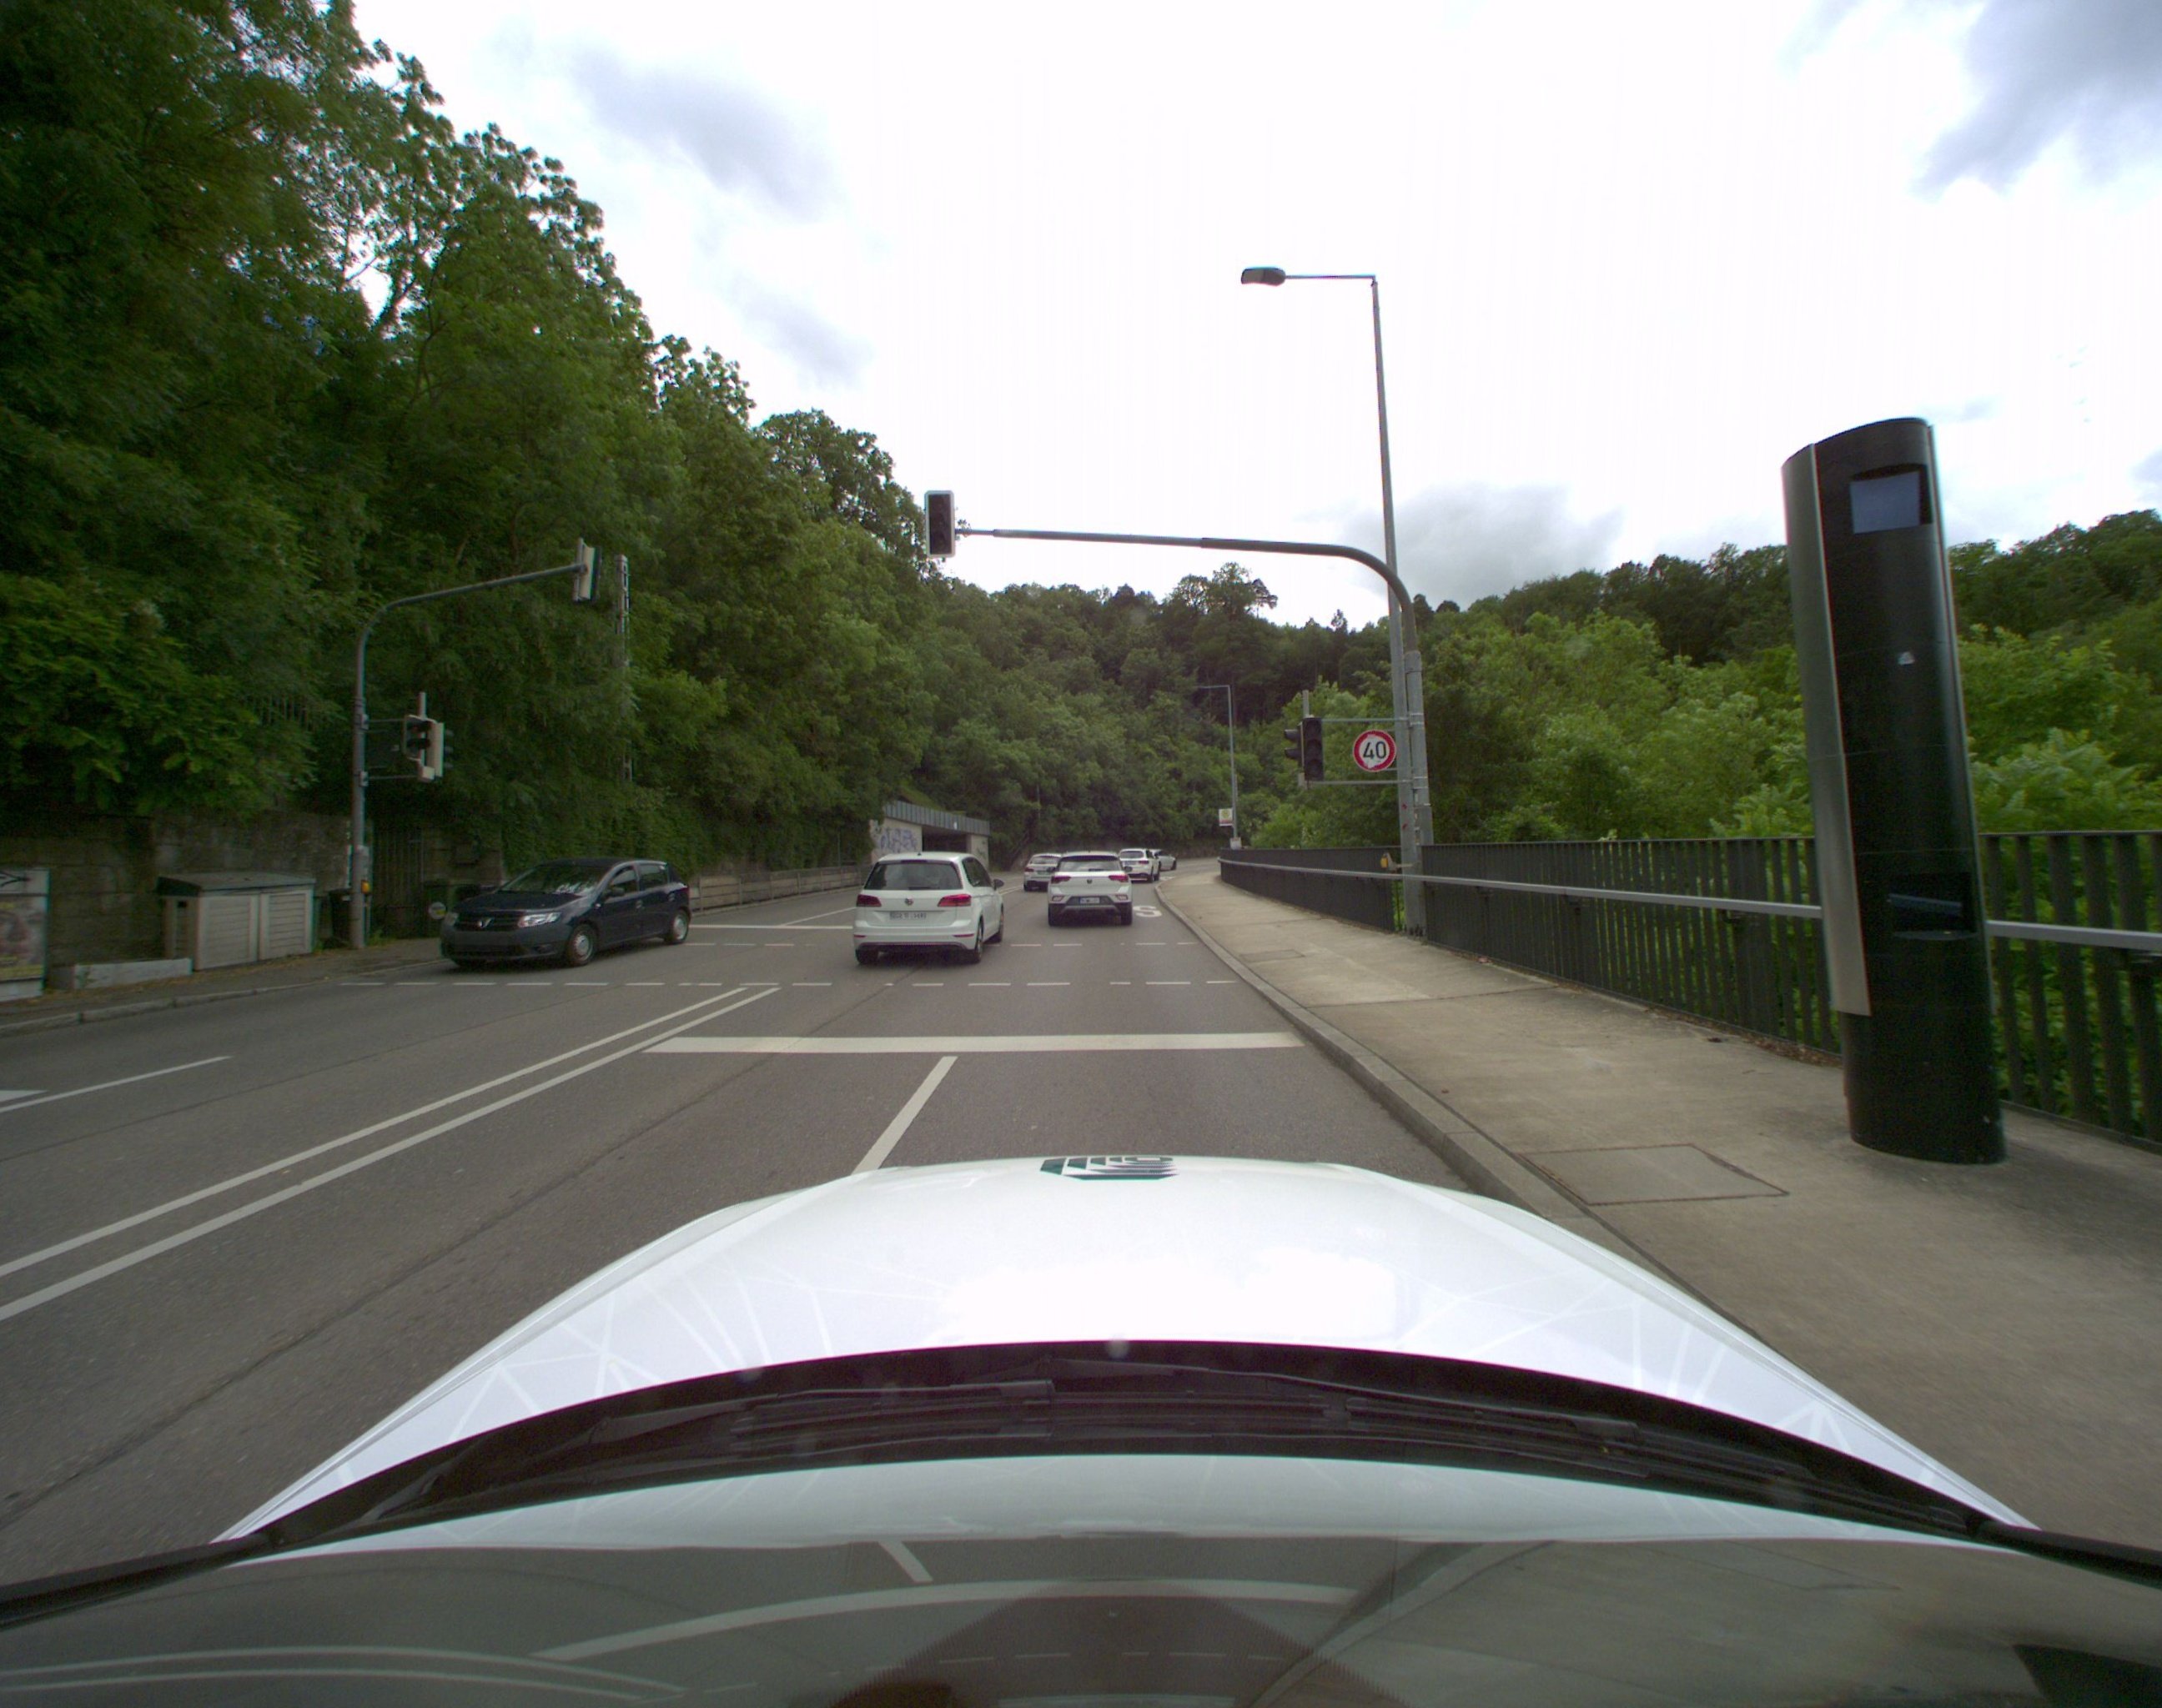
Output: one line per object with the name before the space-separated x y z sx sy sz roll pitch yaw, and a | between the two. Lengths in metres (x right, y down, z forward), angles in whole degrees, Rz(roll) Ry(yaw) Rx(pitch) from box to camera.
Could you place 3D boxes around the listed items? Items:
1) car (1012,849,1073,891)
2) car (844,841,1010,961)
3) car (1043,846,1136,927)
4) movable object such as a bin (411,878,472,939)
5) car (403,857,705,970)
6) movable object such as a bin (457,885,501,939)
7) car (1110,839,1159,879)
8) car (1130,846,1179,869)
car | -1.430 0.577 32.430 1.985 1.557 4.684 0 0 3
car | -2.217 0.612 12.889 1.714 1.554 4.276 -1 0 1
car | 0.234 0.676 18.317 1.807 1.539 4.010 -2 -1 2
movable object such as a bin | -11.487 0.970 14.647 0.639 1.067 0.557 1 0 0
car | -7.772 0.775 12.617 1.806 1.434 4.250 1 0 1
movable object such as a bin | -10.903 1.041 14.751 0.426 0.950 0.479 1 0 0
car | 2.696 0.224 39.822 1.982 1.843 4.161 0 0 9
car | 4.979 0.237 54.529 1.725 1.519 4.334 0 0 27
